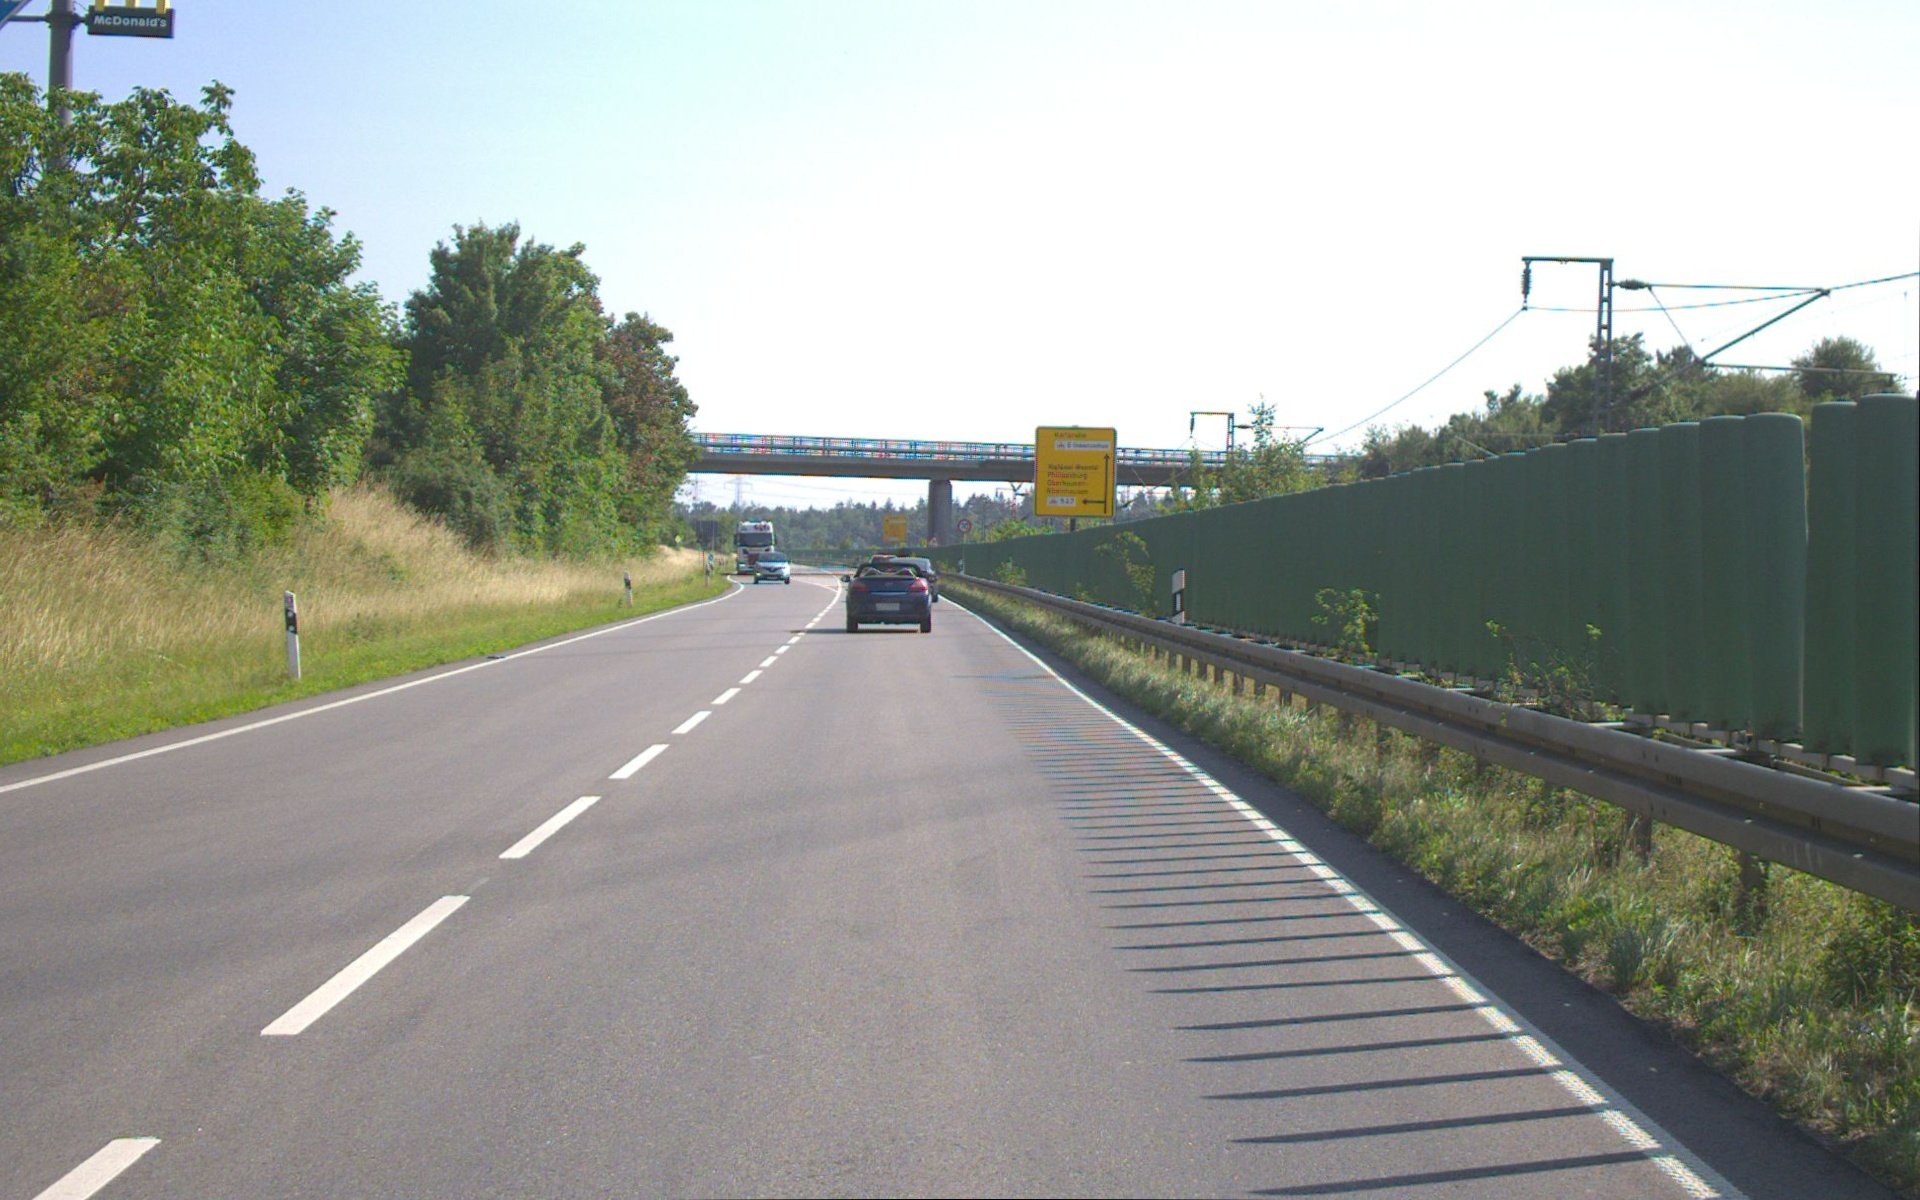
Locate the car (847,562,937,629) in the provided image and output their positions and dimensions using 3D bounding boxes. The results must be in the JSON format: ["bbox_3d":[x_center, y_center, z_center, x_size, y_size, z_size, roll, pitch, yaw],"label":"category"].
[{"bbox_3d":[-1.347,-0.095,67.093,1.663,1.257,4.000,1,0,-2],"label":"car"}]

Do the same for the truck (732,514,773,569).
[{"bbox_3d":[-14.362,-4.030,238.274,2.559,3.676,10.489,1,1,-2],"label":"truck"}]

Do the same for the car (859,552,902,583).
[{"bbox_3d":[-3.688,-1.508,159.014,1.895,1.413,4.000,1,0,-2],"label":"car"}]

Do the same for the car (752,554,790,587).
[{"bbox_3d":[-9.315,-1.475,169.749,1.795,1.588,4.000,1,0,-2],"label":"car"}]
